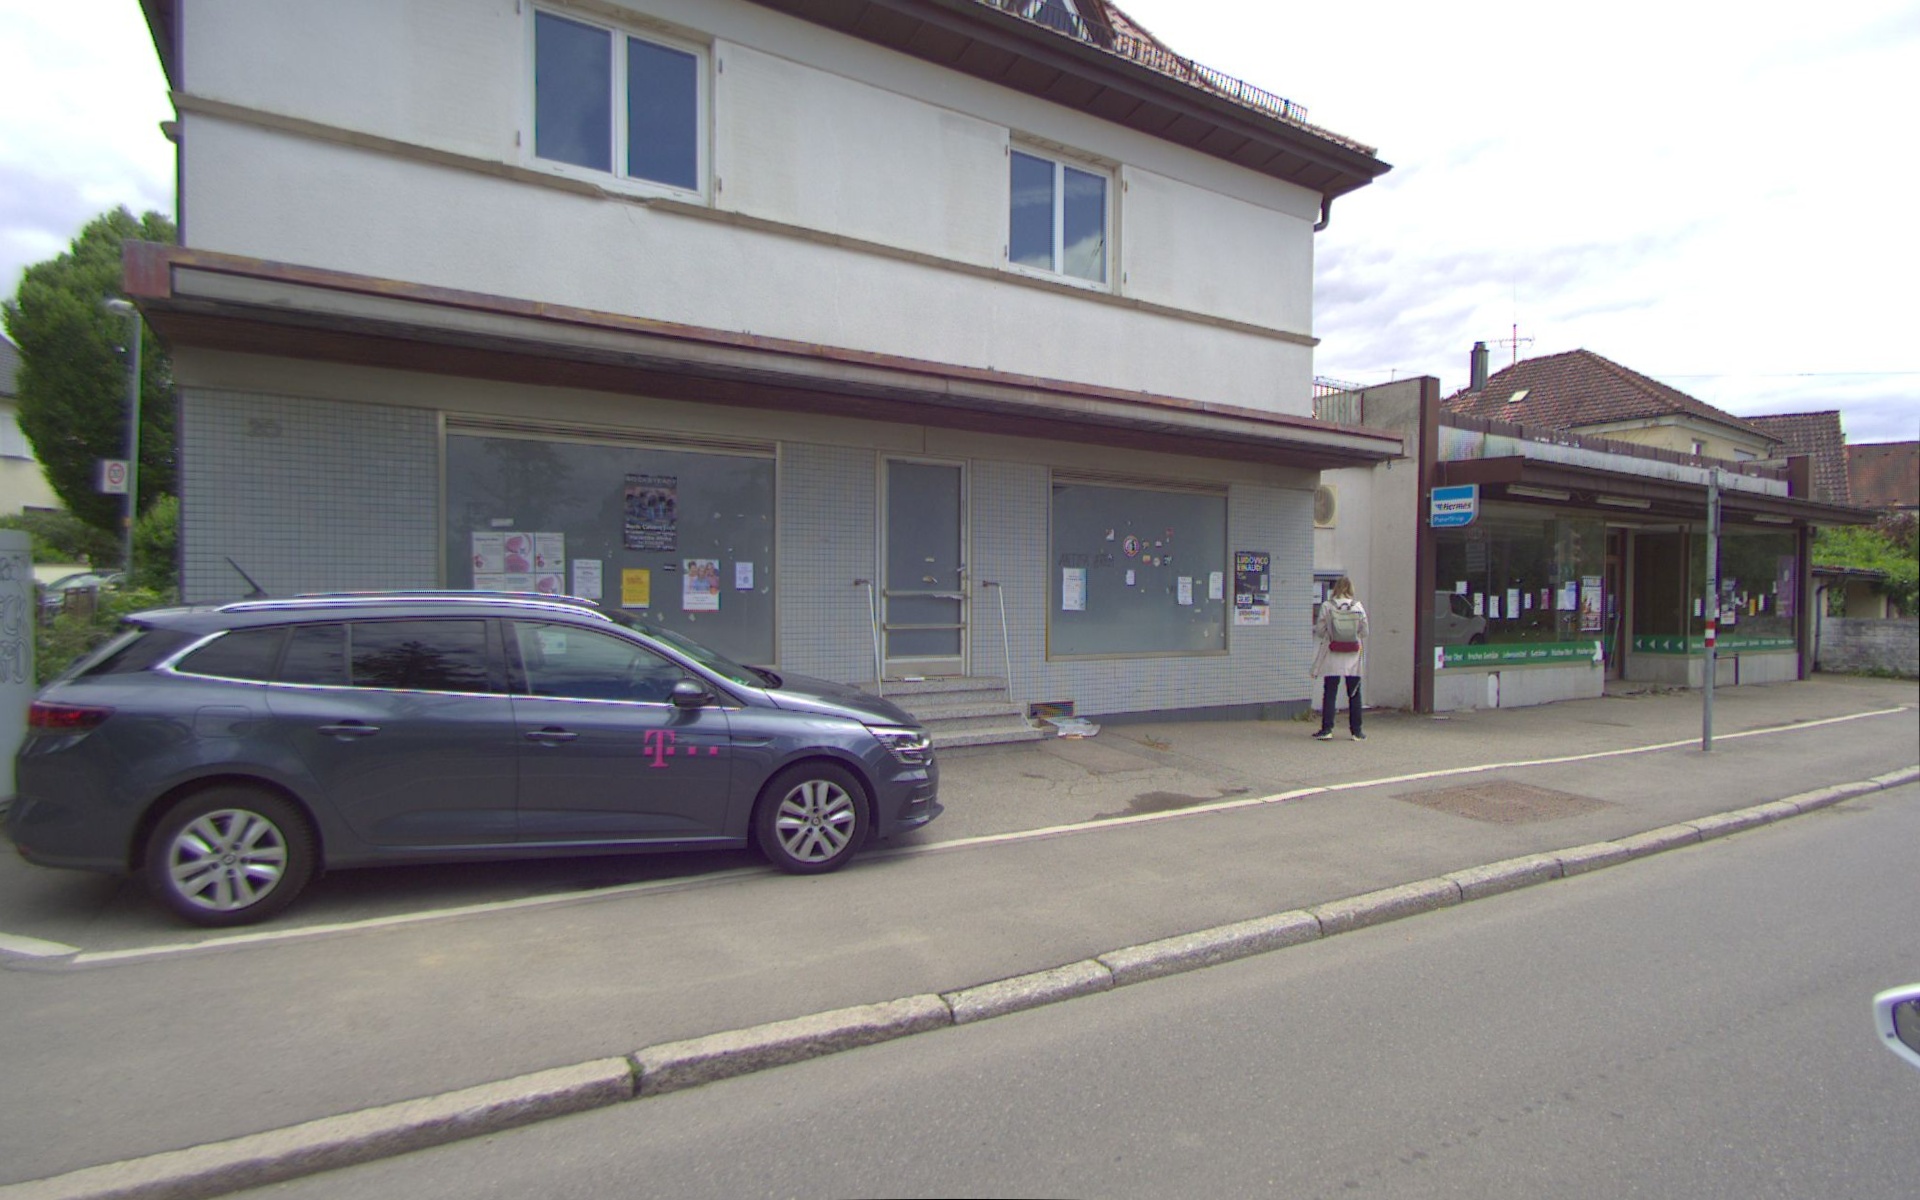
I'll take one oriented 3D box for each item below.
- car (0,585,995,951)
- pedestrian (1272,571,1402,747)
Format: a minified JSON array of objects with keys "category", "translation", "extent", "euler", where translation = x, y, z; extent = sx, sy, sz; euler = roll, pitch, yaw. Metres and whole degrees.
[{"category":"car","translation":[-2.209,0.726,5.763],"extent":[4.458,1.461,1.776],"euler":[1,2,-21]},{"category":"pedestrian","translation":[4.061,0.599,10.843],"extent":[0.954,1.774,0.876],"euler":[1,2,-35]}]
